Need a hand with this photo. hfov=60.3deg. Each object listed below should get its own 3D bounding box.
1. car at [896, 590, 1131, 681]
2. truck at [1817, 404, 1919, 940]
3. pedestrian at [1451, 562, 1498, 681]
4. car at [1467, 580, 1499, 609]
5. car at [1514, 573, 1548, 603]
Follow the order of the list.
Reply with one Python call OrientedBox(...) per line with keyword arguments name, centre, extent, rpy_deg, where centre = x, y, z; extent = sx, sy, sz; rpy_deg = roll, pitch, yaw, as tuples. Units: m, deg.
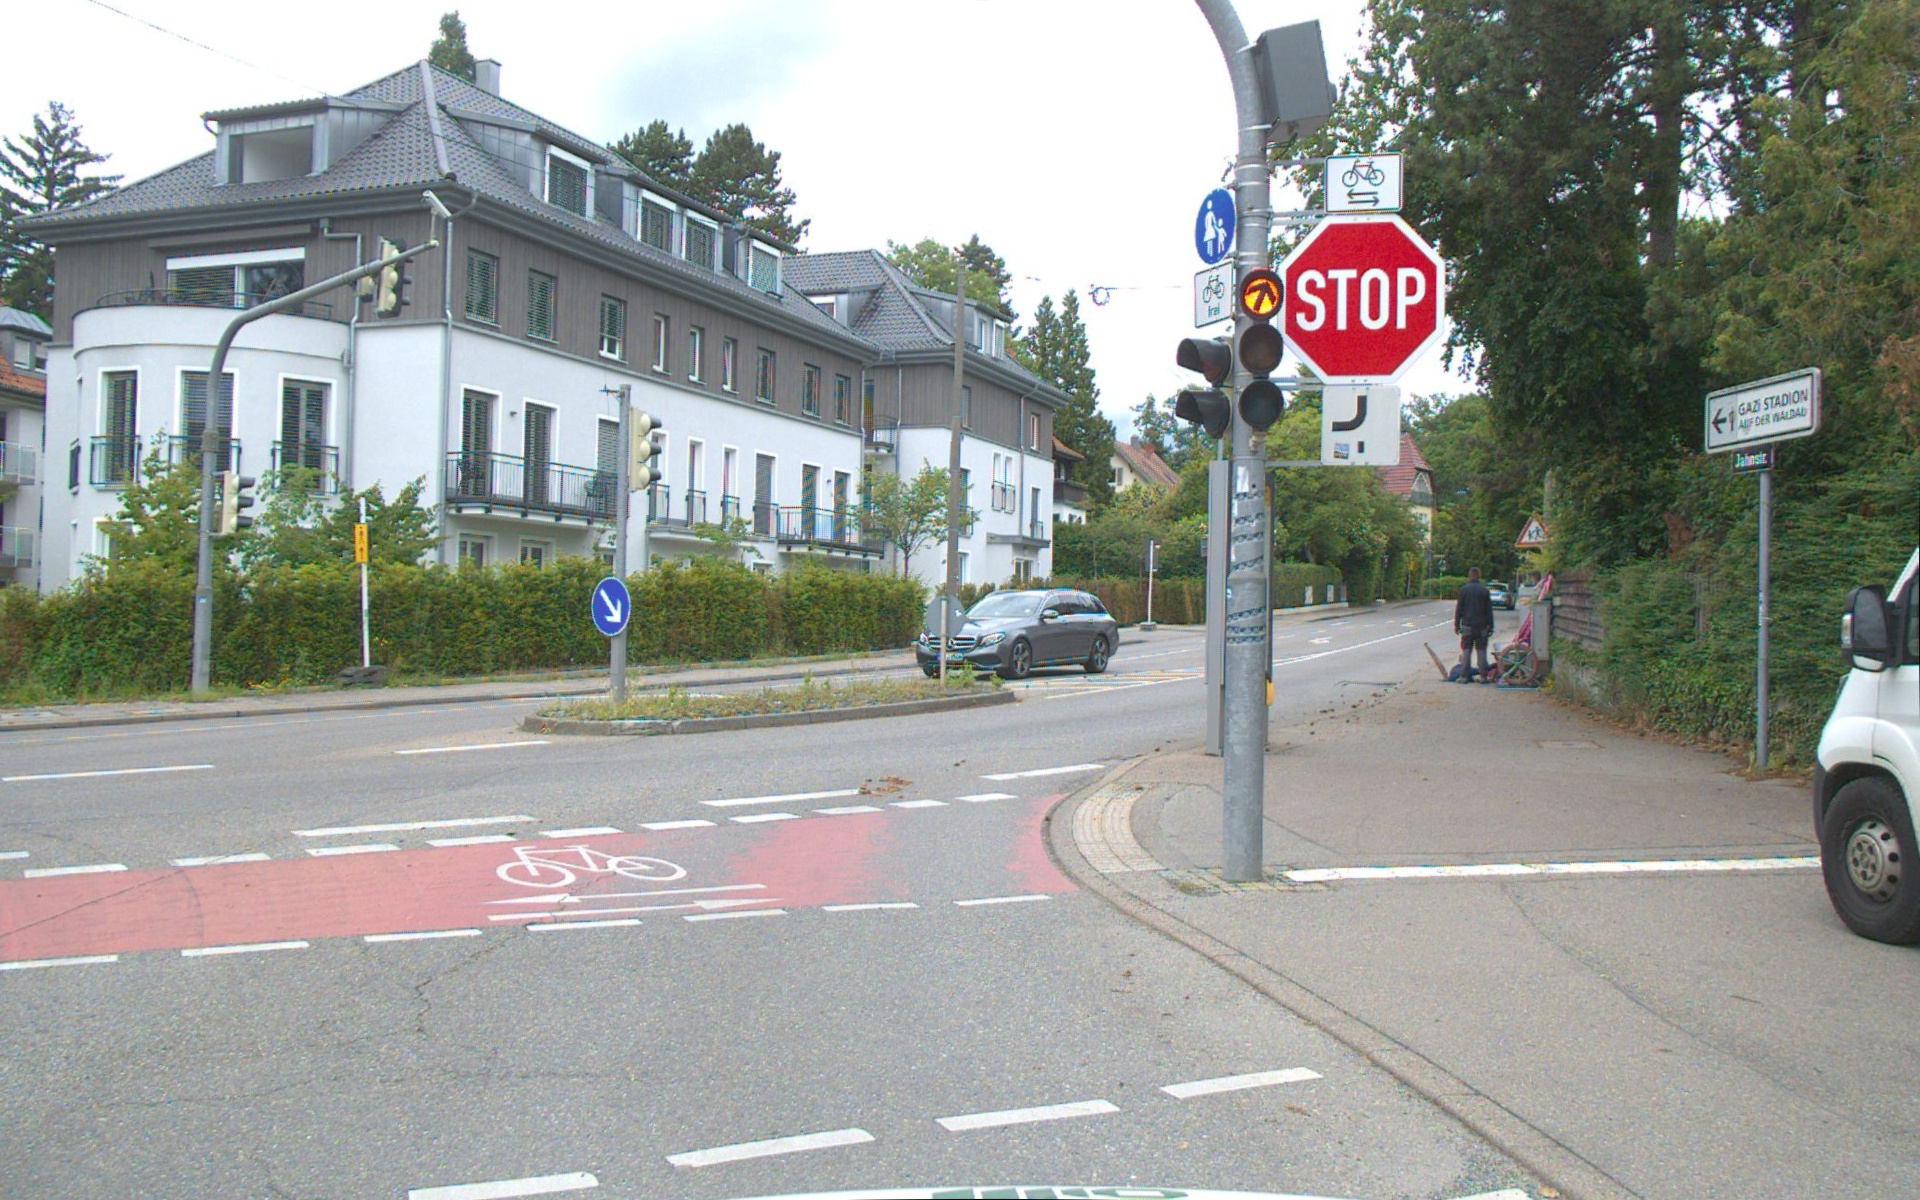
OrientedBox(name="car", centre=(1.037, 0.552, 28.789), extent=(1.905, 1.428, 4.728), rpy_deg=(1, 1, 34))
OrientedBox(name="truck", centre=(5.136, 0.320, 5.035), extent=(2.162, 2.283, 5.724), rpy_deg=(1, 0, 1))
OrientedBox(name="pedestrian", centre=(8.574, 0.354, 27.586), extent=(0.584, 1.940, 0.558), rpy_deg=(1, 0, 0))
OrientedBox(name="car", centre=(32.954, -0.334, 104.182), extent=(1.770, 1.784, 4.488), rpy_deg=(-1, 0, 19))
OrientedBox(name="car", centre=(40.437, -0.840, 117.067), extent=(1.953, 2.049, 3.999), rpy_deg=(1, 0, 23))
